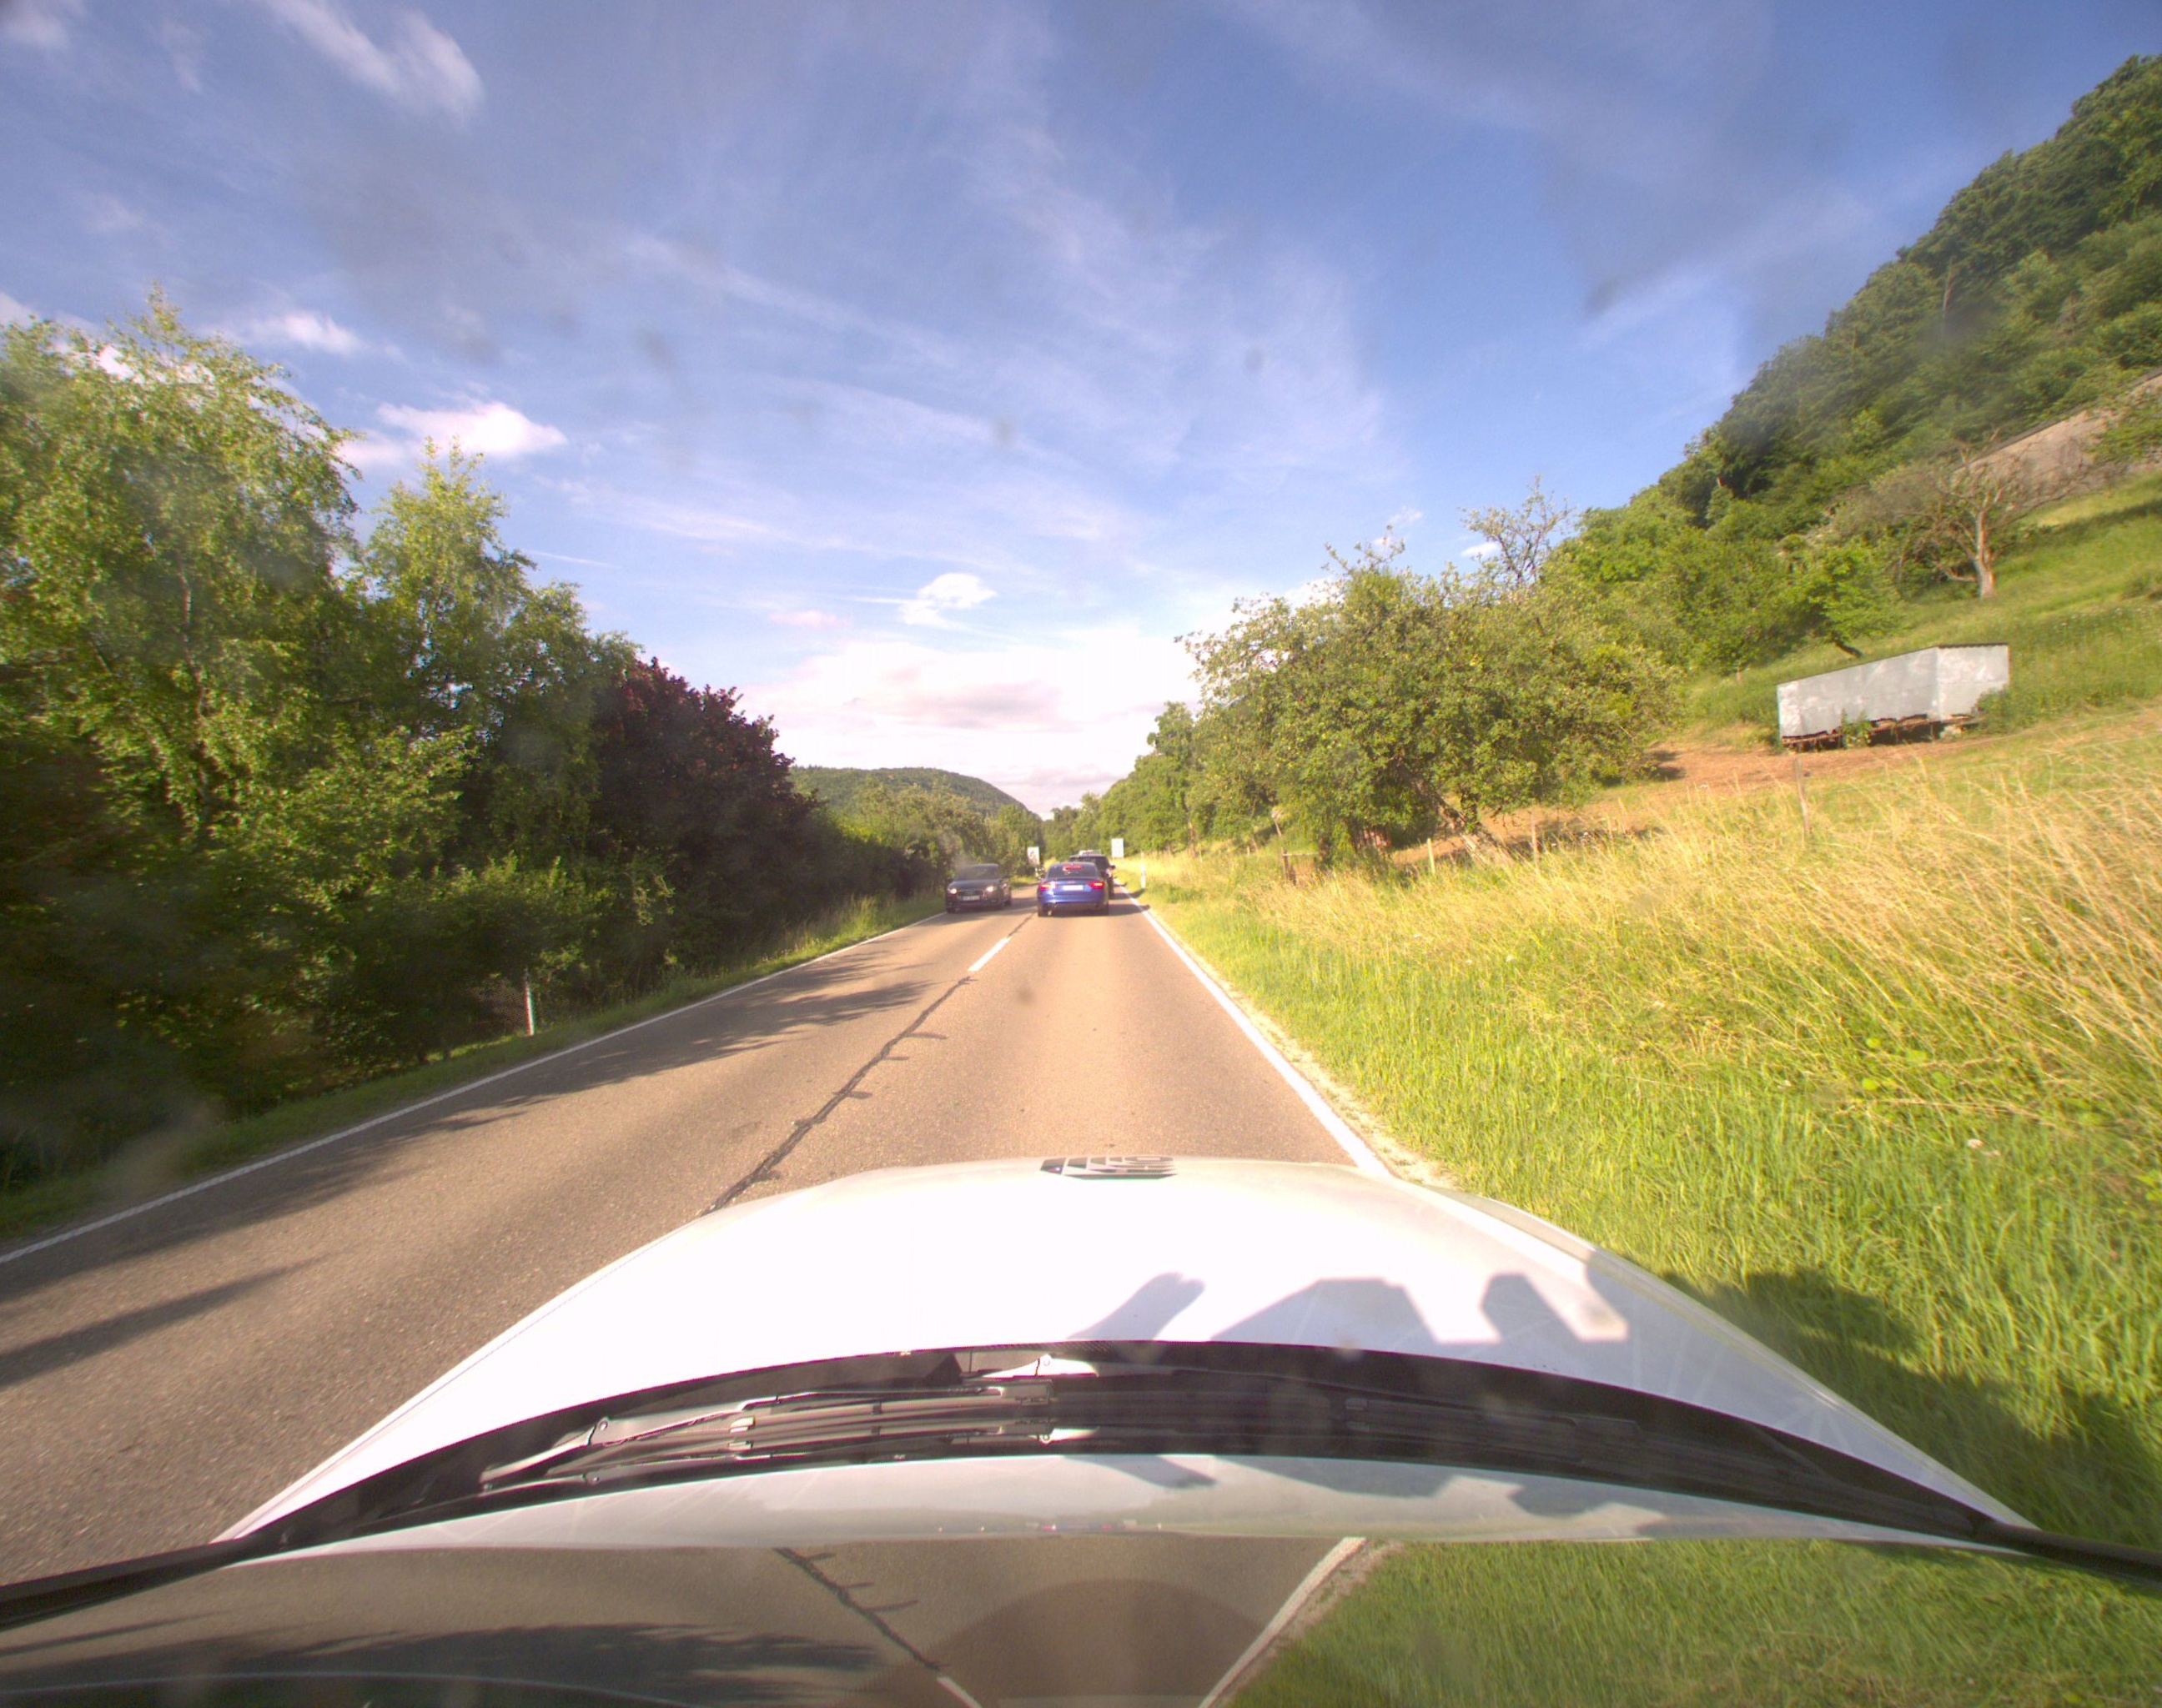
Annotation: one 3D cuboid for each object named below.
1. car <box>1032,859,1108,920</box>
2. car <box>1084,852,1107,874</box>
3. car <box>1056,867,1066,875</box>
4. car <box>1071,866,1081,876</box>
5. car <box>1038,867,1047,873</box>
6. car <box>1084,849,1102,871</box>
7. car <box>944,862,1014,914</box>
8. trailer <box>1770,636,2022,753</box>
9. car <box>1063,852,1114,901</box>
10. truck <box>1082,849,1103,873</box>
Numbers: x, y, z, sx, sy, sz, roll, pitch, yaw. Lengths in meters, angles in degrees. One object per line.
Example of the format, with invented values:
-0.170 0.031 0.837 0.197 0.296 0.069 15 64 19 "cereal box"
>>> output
-0.228 0.860 21.710 1.799 1.382 4.215 -2 0 1 "car"
1.152 0.719 65.259 1.687 1.624 3.789 -2 0 0 "car"
-3.933 3.222 157.832 1.558 1.496 3.767 0 -1 -8 "car"
-0.754 2.739 130.543 1.554 1.496 3.776 0 -1 -1 "car"
-8.830 3.636 186.382 1.560 1.496 3.763 0 -1 -12 "car"
1.365 0.675 93.527 1.788 2.453 3.915 0 -1 -2 "car"
-3.112 0.996 25.454 1.622 1.415 3.789 -3 -1 0 "car"
24.091 -4.594 24.452 2.147 2.557 5.242 -5 3 -3 "trailer"
0.263 0.776 29.484 1.687 1.624 3.789 -2 0 0 "car"
1.140 0.746 82.930 1.944 2.345 5.092 0 -1 0 "truck"
